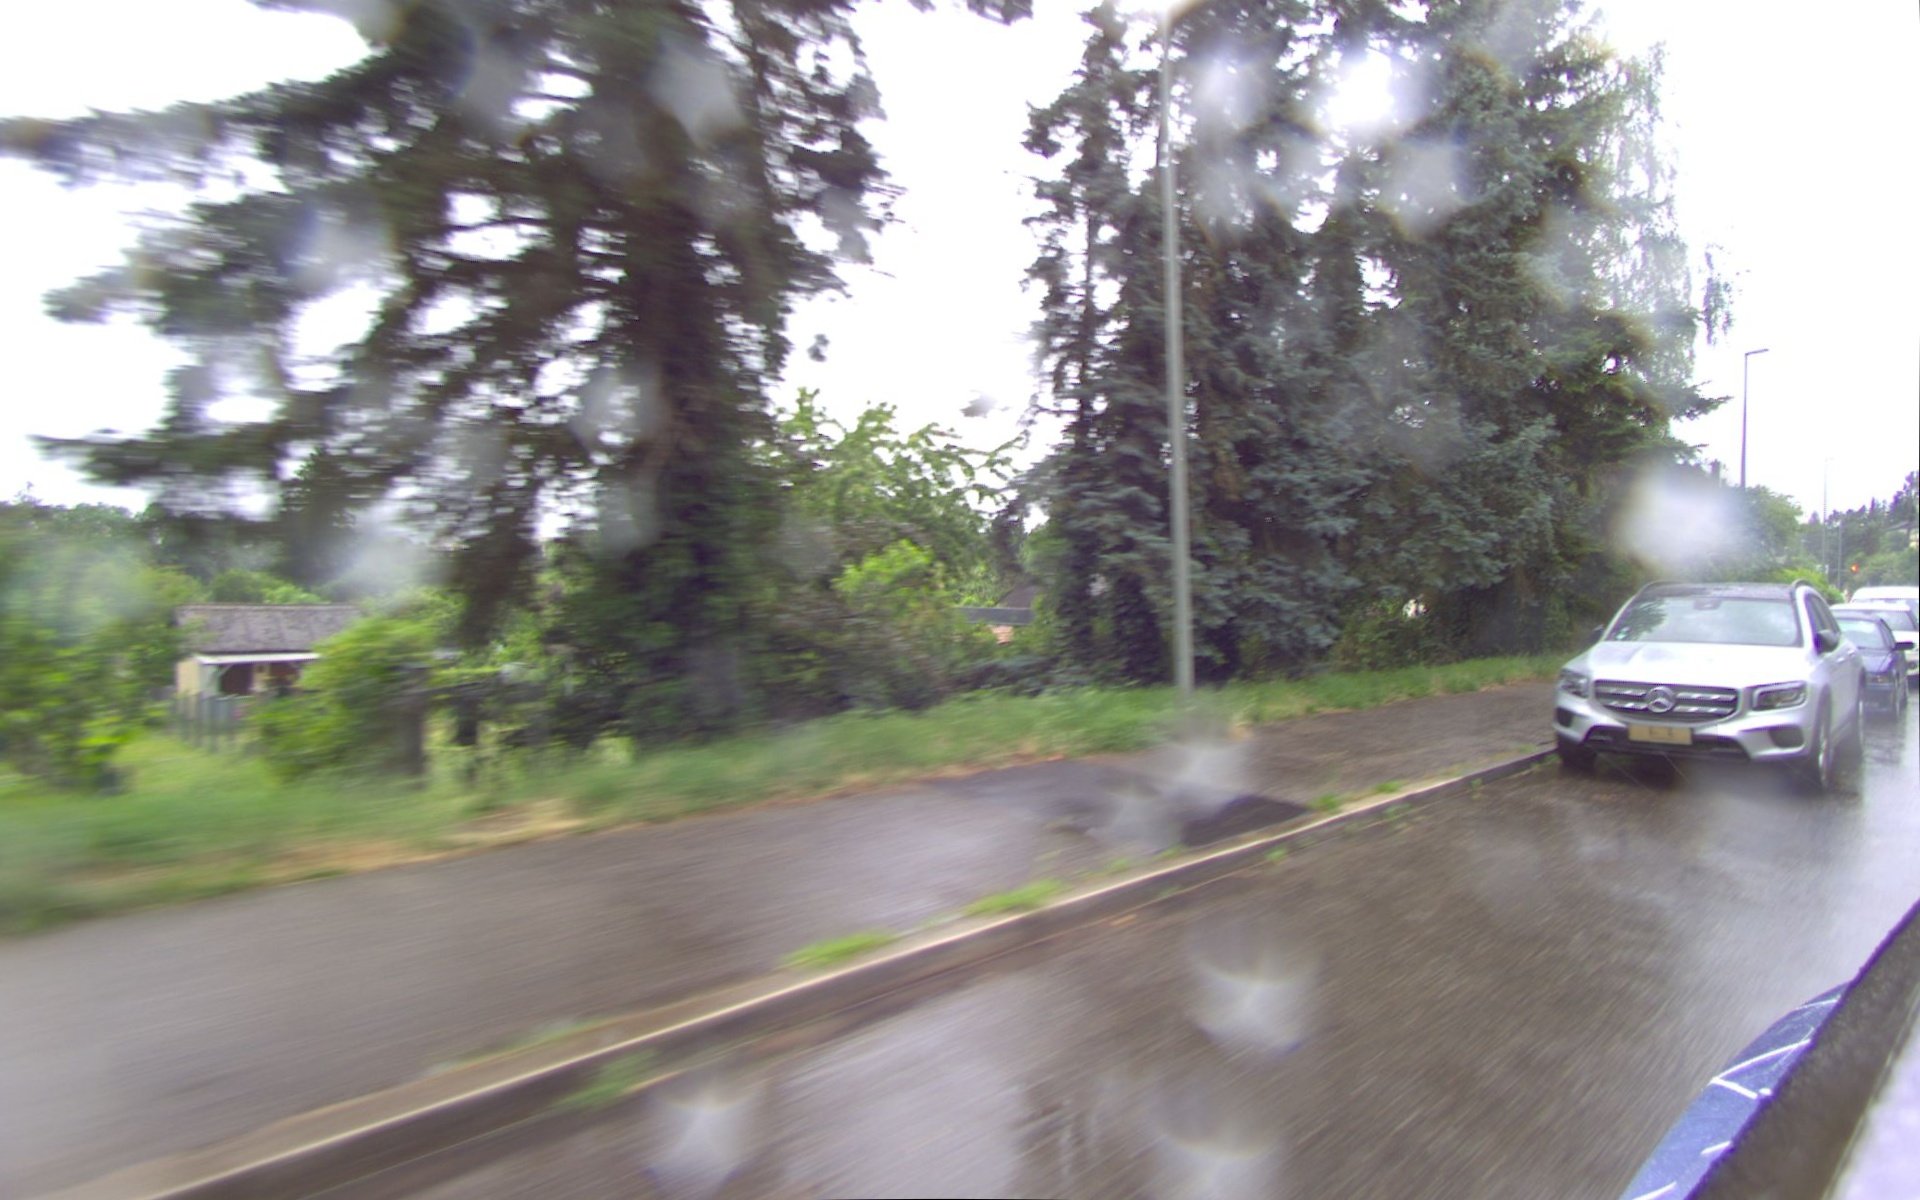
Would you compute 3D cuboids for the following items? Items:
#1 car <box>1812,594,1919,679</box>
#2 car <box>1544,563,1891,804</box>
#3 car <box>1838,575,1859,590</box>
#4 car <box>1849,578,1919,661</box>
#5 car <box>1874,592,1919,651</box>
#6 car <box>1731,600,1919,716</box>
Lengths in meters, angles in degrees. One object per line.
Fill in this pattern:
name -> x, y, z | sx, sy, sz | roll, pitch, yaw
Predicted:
car -> 17.414, 0.609, 19.008 | 4.133, 1.421, 1.711 | -1, 1, -44
car -> 6.987, 0.542, 9.145 | 4.322, 1.666, 1.817 | 0, 1, -44
car -> 158.231, -3.158, 180.317 | 2.073, 2.508, 4.794 | 5, 3, 34
car -> 22.400, 0.411, 23.857 | 4.288, 1.813, 1.786 | 0, 1, -44
car -> 25.984, 0.534, 27.205 | 4.236, 1.478, 1.791 | -1, 1, -44
car -> 12.118, 0.689, 14.012 | 4.373, 1.298, 1.632 | -1, 1, -44
